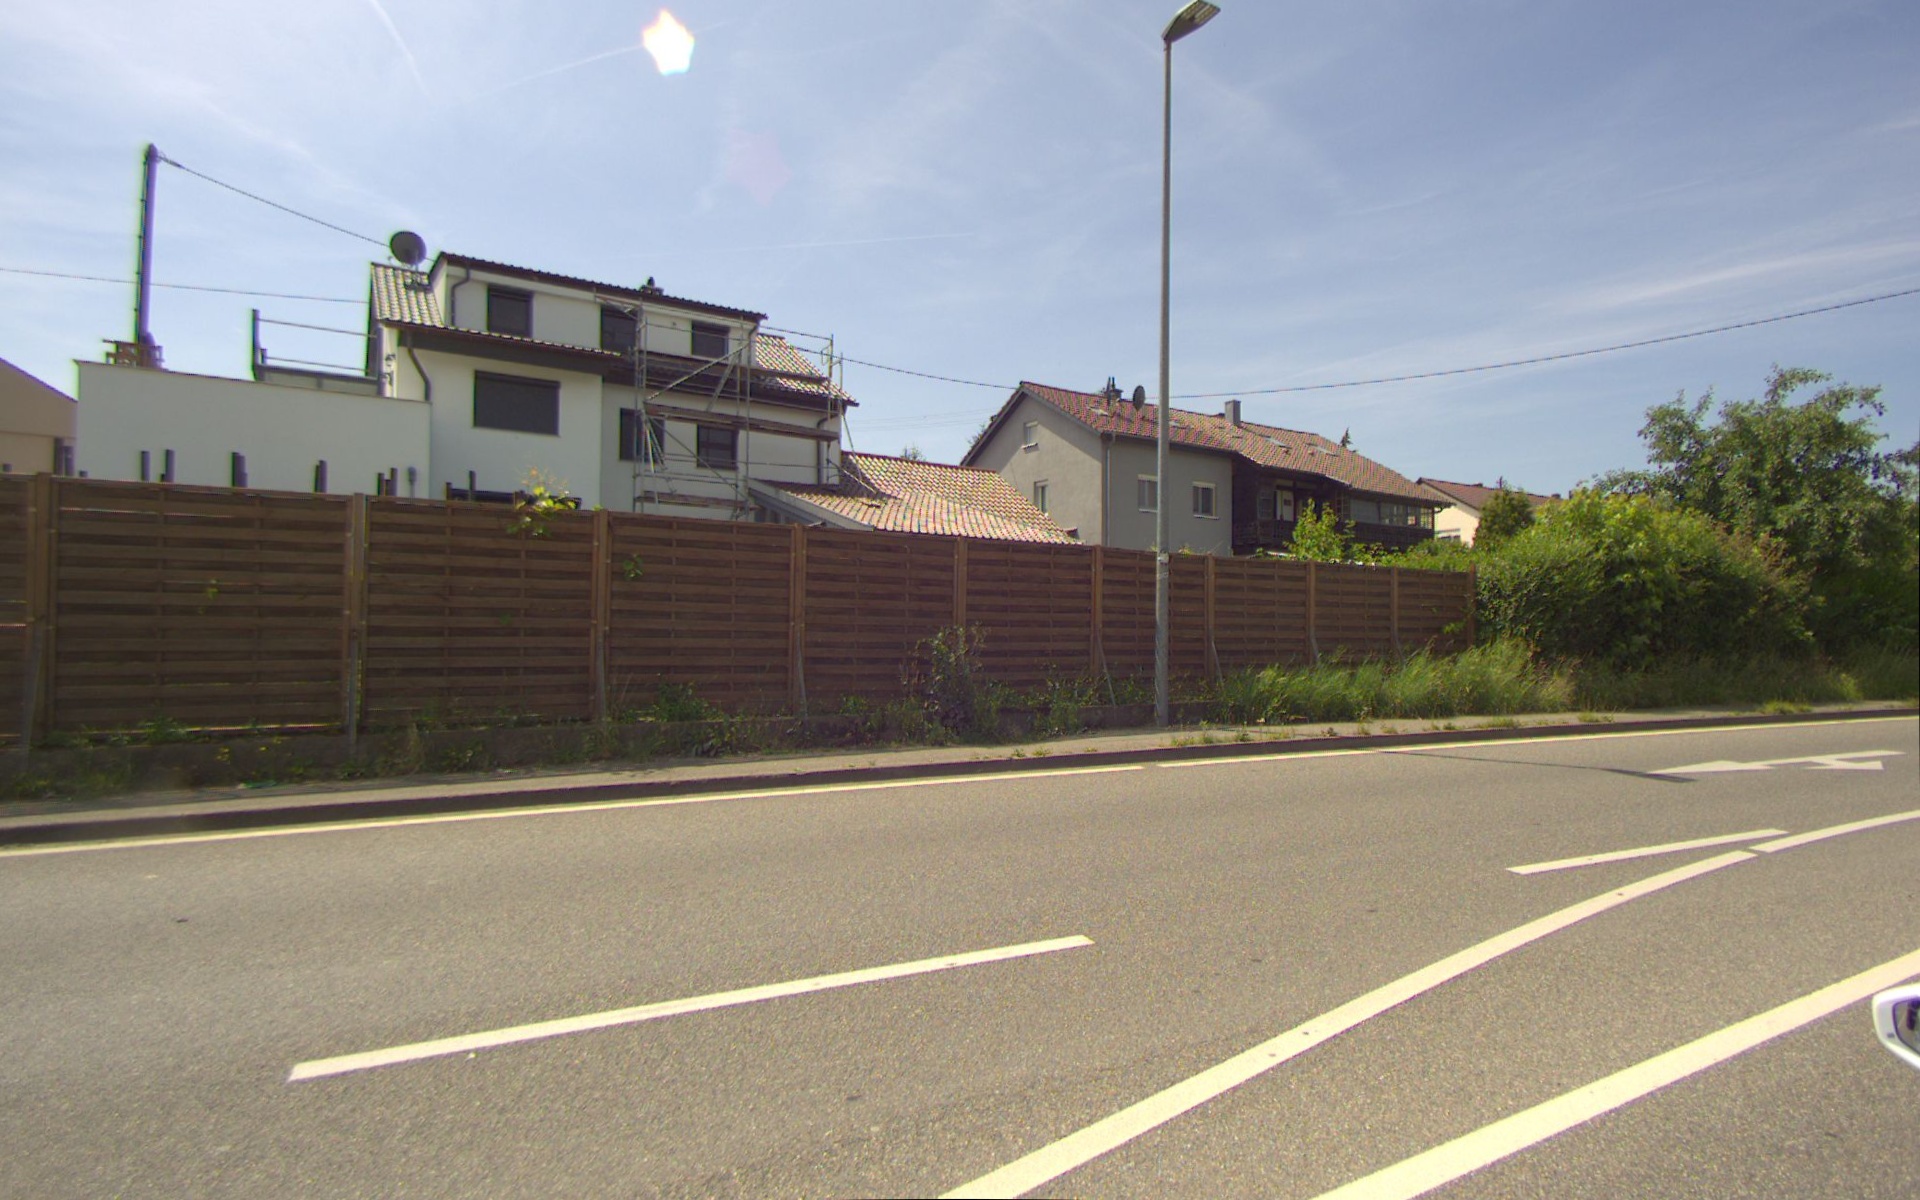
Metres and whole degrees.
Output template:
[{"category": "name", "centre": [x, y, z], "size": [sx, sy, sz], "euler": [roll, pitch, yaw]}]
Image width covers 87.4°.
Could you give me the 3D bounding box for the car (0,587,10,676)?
[{"category": "car", "centre": [-16.124, 0.469, 14.602], "size": [1.854, 1.459, 3.982], "euler": [2, -1, -20]}]
